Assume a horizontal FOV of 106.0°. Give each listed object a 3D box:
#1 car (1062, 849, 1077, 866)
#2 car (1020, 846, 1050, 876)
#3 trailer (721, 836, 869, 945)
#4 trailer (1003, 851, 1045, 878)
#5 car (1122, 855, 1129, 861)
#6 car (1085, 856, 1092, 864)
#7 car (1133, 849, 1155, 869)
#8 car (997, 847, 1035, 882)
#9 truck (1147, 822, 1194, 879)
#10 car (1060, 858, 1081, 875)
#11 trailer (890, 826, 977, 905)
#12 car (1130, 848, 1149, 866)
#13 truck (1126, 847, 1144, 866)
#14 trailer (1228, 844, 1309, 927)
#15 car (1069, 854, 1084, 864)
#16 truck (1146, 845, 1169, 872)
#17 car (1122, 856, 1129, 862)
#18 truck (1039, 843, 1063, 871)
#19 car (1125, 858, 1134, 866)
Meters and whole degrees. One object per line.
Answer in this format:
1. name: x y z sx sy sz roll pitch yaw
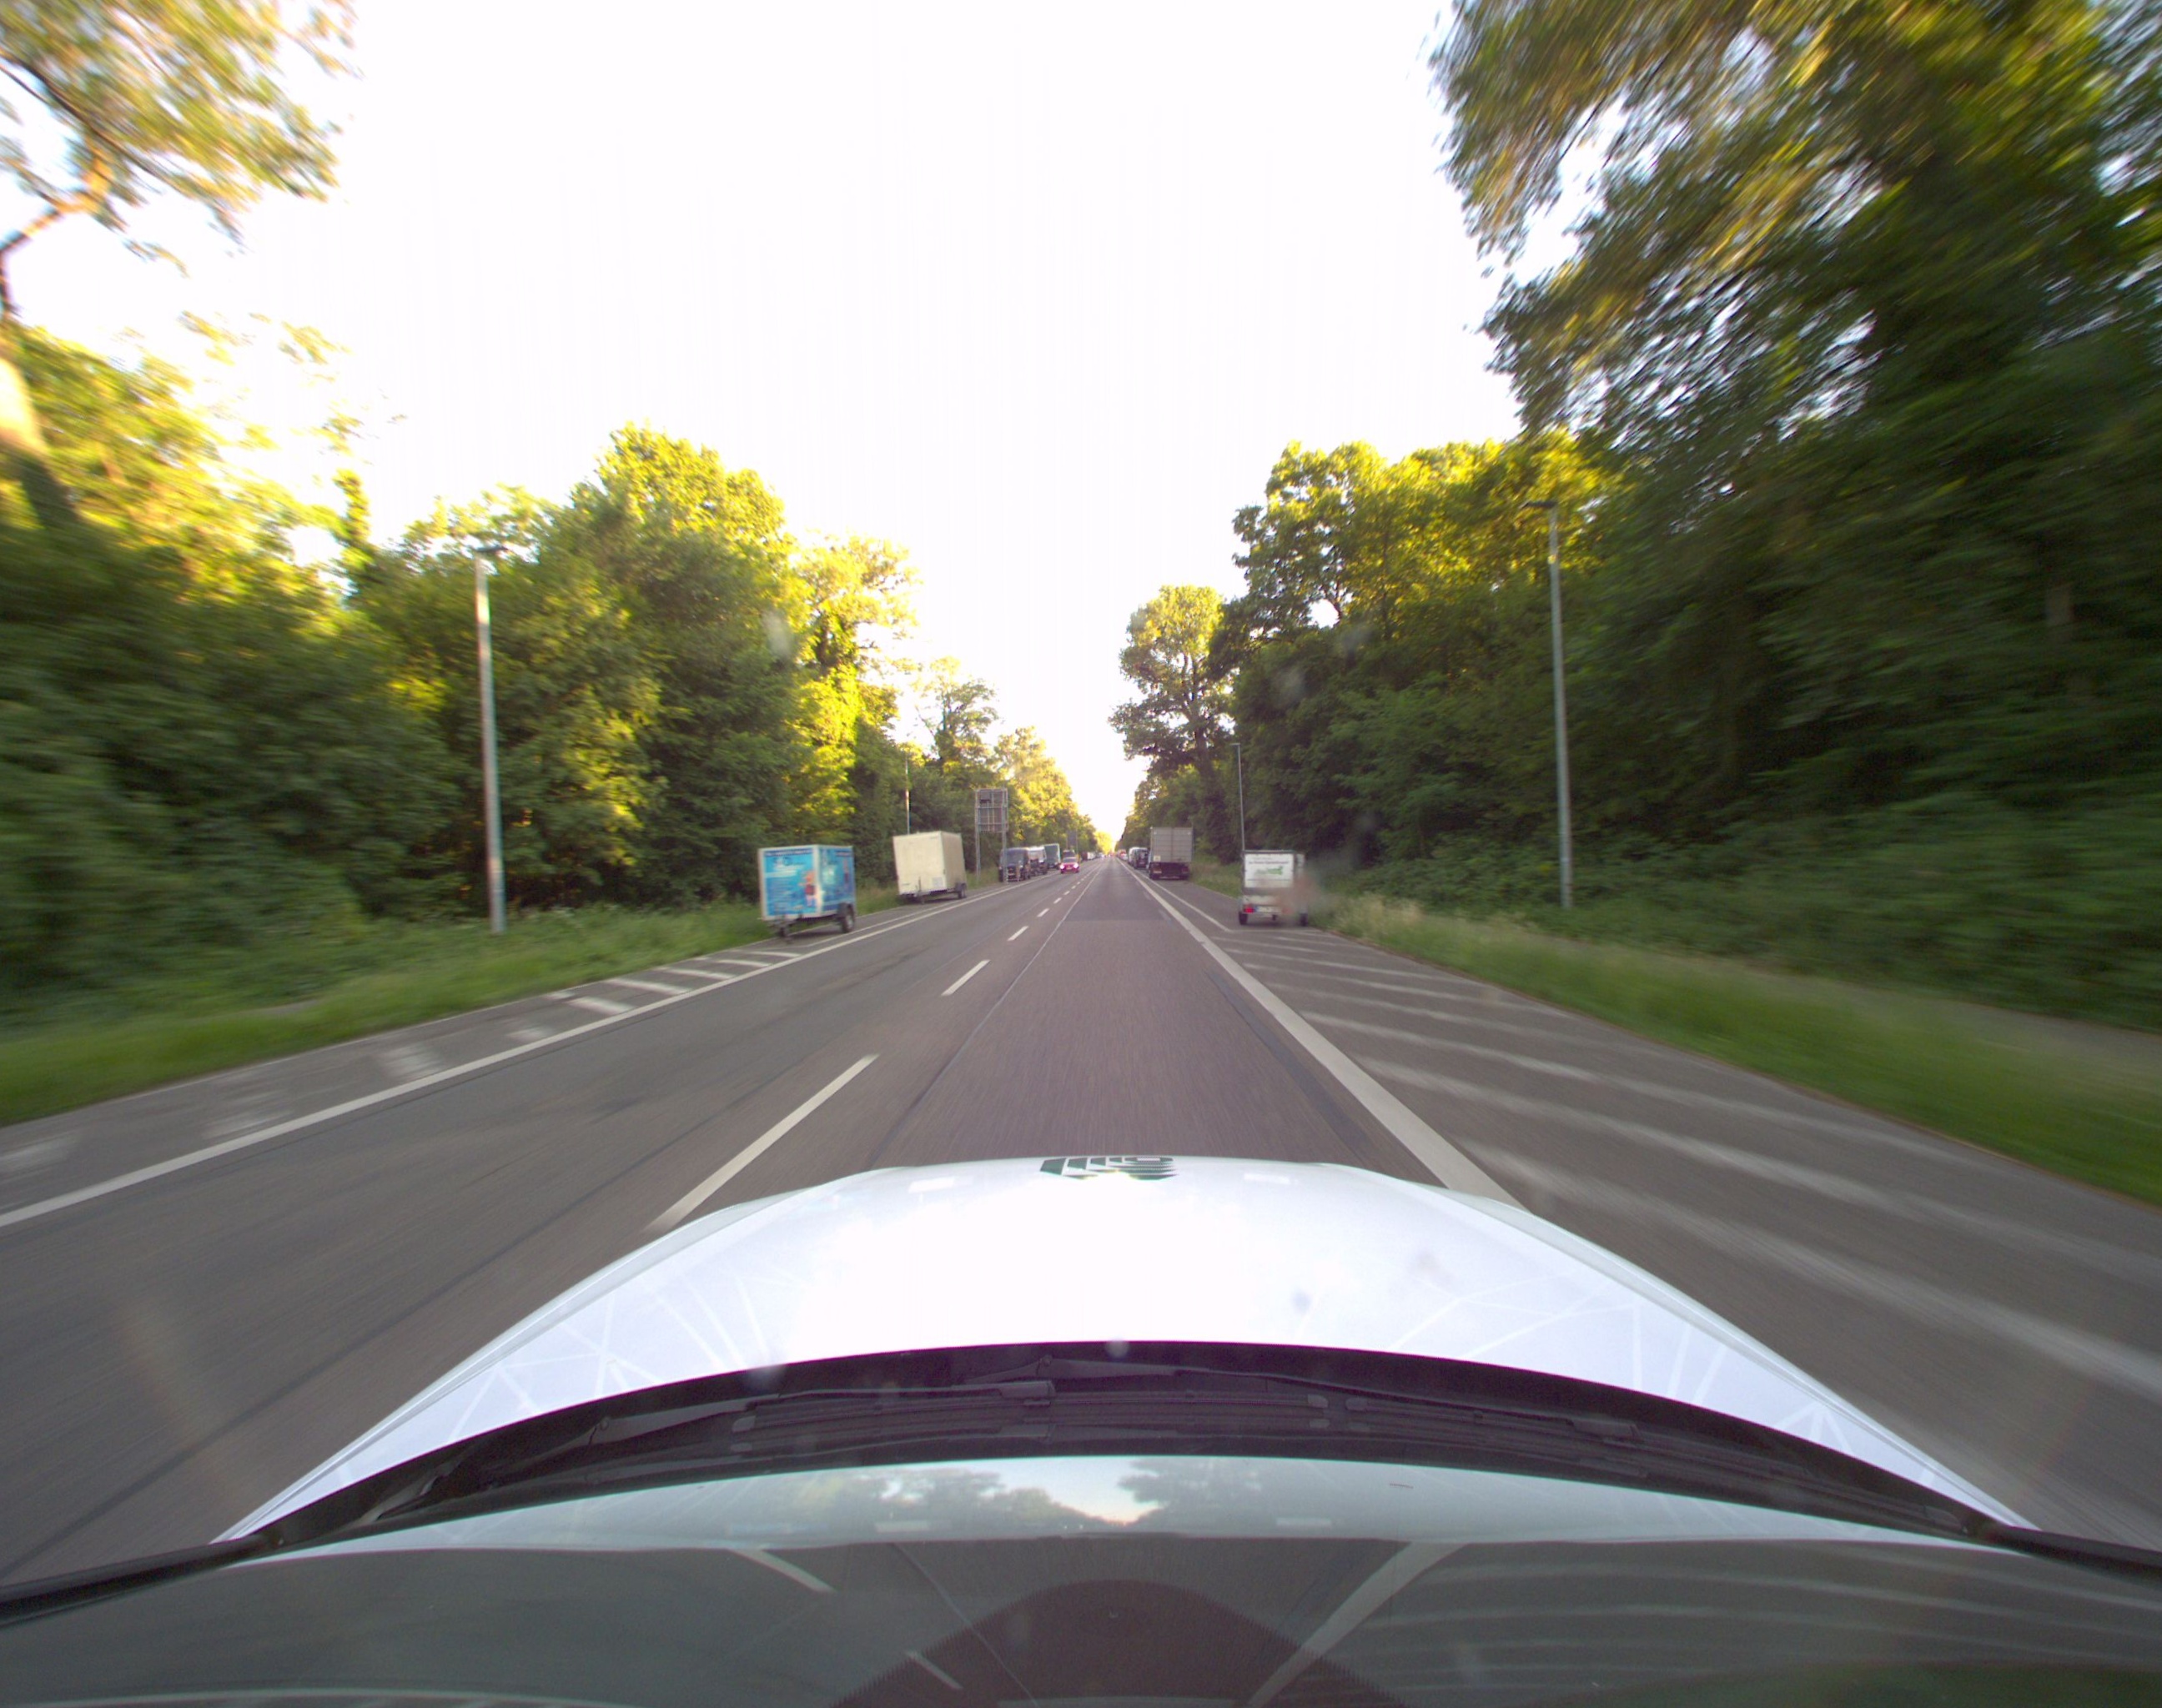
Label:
1. car: -1.914 0.554 137.608 2.178 2.788 5.336 -3 0 2
2. car: -4.314 0.635 77.400 2.241 2.647 5.724 -3 0 2
3. trailer: -6.466 0.760 18.937 1.811 2.167 4.143 -3 0 1
4. trailer: -4.986 0.909 71.882 1.945 2.155 3.952 -3 0 23
5. car: 9.922 0.854 181.992 1.422 1.222 3.413 -4 0 2
6. car: 2.339 1.819 245.123 1.987 2.014 3.998 -2 -2 -1
7. car: 6.509 0.516 84.763 1.987 1.955 4.299 -1 0 0
8. car: -4.828 0.729 60.973 1.986 2.364 5.768 -4 0 2
9. truck: 5.478 -0.175 50.860 2.578 3.255 7.227 -1 0 3
10. car: -0.954 1.140 76.828 1.676 1.486 4.039 -3 0 2
11. trailer: -6.122 0.455 34.554 2.317 2.924 5.628 -4 0 1
12. car: 7.422 0.401 104.020 2.135 2.313 4.299 -1 0 0
13. truck: 7.746 0.311 117.111 2.135 2.660 4.299 -1 0 0
14. trailer: 4.340 0.637 18.509 1.444 1.662 3.794 -3 0 17
15. car: -0.920 1.024 167.300 1.685 2.013 4.020 0 0 21
16. truck: 6.555 0.383 70.251 1.877 2.283 4.304 -1 0 4
17. car: 10.815 1.155 199.062 1.639 1.486 4.002 0 0 2
18. truck: -3.737 0.342 102.870 2.494 3.328 6.844 -3 0 2
19. car: 7.364 1.200 123.353 1.143 1.252 2.753 -3 0 0
